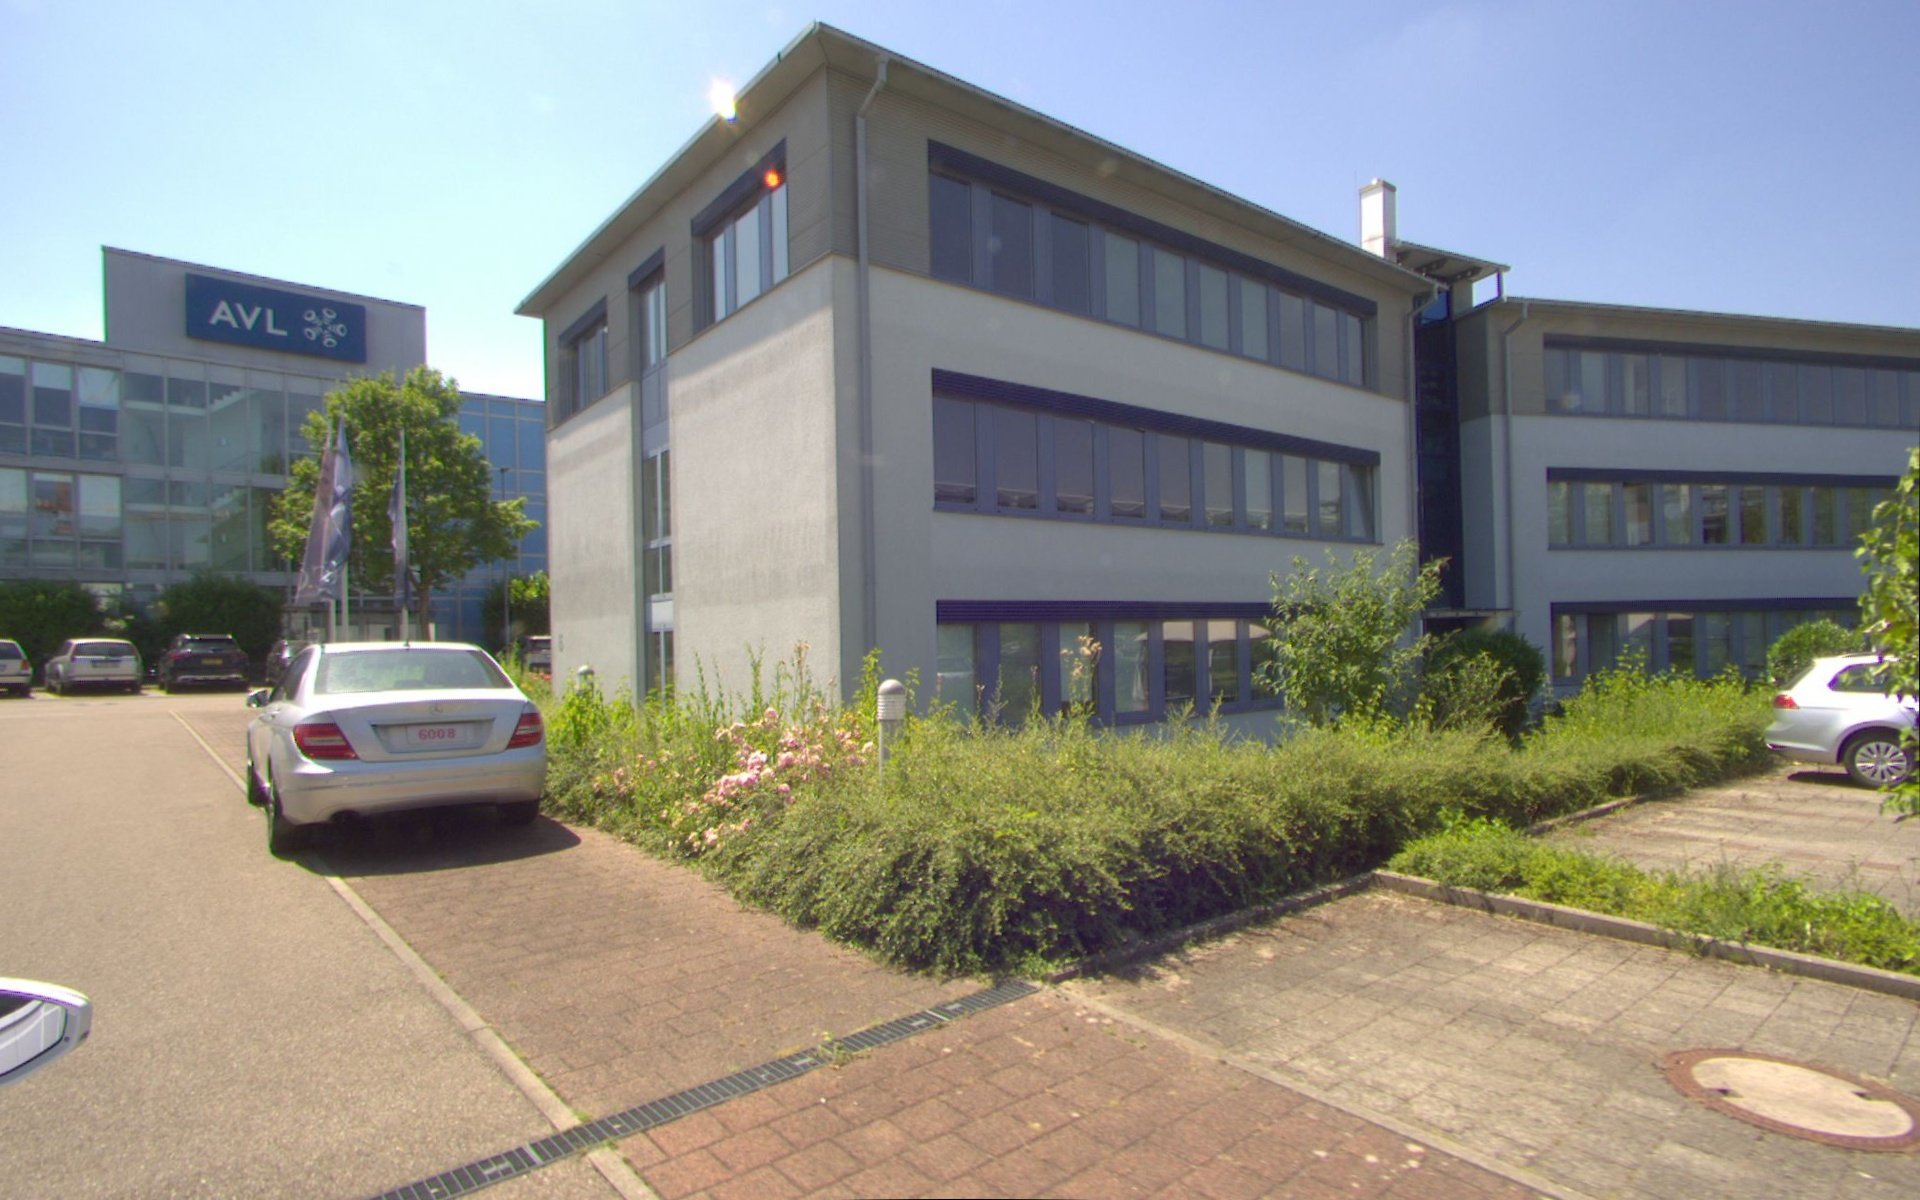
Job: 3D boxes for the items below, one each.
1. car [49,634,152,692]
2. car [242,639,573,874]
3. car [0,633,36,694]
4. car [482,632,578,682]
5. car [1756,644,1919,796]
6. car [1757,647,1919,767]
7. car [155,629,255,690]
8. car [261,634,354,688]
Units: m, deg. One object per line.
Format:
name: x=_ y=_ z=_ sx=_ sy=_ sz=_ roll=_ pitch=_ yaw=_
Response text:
car: x=-23.851 y=1.706 z=27.747 sx=3.615 sy=1.467 sz=1.756 roll=-1 pitch=-3 yaw=43
car: x=-4.817 y=1.057 z=8.374 sx=1.784 sy=1.415 sz=4.387 roll=1 pitch=-3 yaw=-38
car: x=-25.245 y=1.607 z=25.873 sx=3.615 sy=1.467 sz=1.723 roll=-1 pitch=-3 yaw=43
car: x=-15.277 y=1.967 z=35.465 sx=1.807 sy=1.640 sz=4.299 roll=1 pitch=-2 yaw=-42
car: x=11.036 y=1.236 z=10.164 sx=1.838 sy=1.539 sz=4.389 roll=2 pitch=-3 yaw=-41
car: x=13.408 y=1.391 z=12.980 sx=1.838 sy=1.512 sz=4.573 roll=2 pitch=-3 yaw=-41
car: x=-21.917 y=1.671 z=29.009 sx=1.914 sy=1.631 sz=3.950 roll=3 pitch=-3 yaw=-42
car: x=-20.089 y=1.808 z=30.754 sx=1.758 sy=1.501 sz=4.219 roll=1 pitch=-2 yaw=-42
